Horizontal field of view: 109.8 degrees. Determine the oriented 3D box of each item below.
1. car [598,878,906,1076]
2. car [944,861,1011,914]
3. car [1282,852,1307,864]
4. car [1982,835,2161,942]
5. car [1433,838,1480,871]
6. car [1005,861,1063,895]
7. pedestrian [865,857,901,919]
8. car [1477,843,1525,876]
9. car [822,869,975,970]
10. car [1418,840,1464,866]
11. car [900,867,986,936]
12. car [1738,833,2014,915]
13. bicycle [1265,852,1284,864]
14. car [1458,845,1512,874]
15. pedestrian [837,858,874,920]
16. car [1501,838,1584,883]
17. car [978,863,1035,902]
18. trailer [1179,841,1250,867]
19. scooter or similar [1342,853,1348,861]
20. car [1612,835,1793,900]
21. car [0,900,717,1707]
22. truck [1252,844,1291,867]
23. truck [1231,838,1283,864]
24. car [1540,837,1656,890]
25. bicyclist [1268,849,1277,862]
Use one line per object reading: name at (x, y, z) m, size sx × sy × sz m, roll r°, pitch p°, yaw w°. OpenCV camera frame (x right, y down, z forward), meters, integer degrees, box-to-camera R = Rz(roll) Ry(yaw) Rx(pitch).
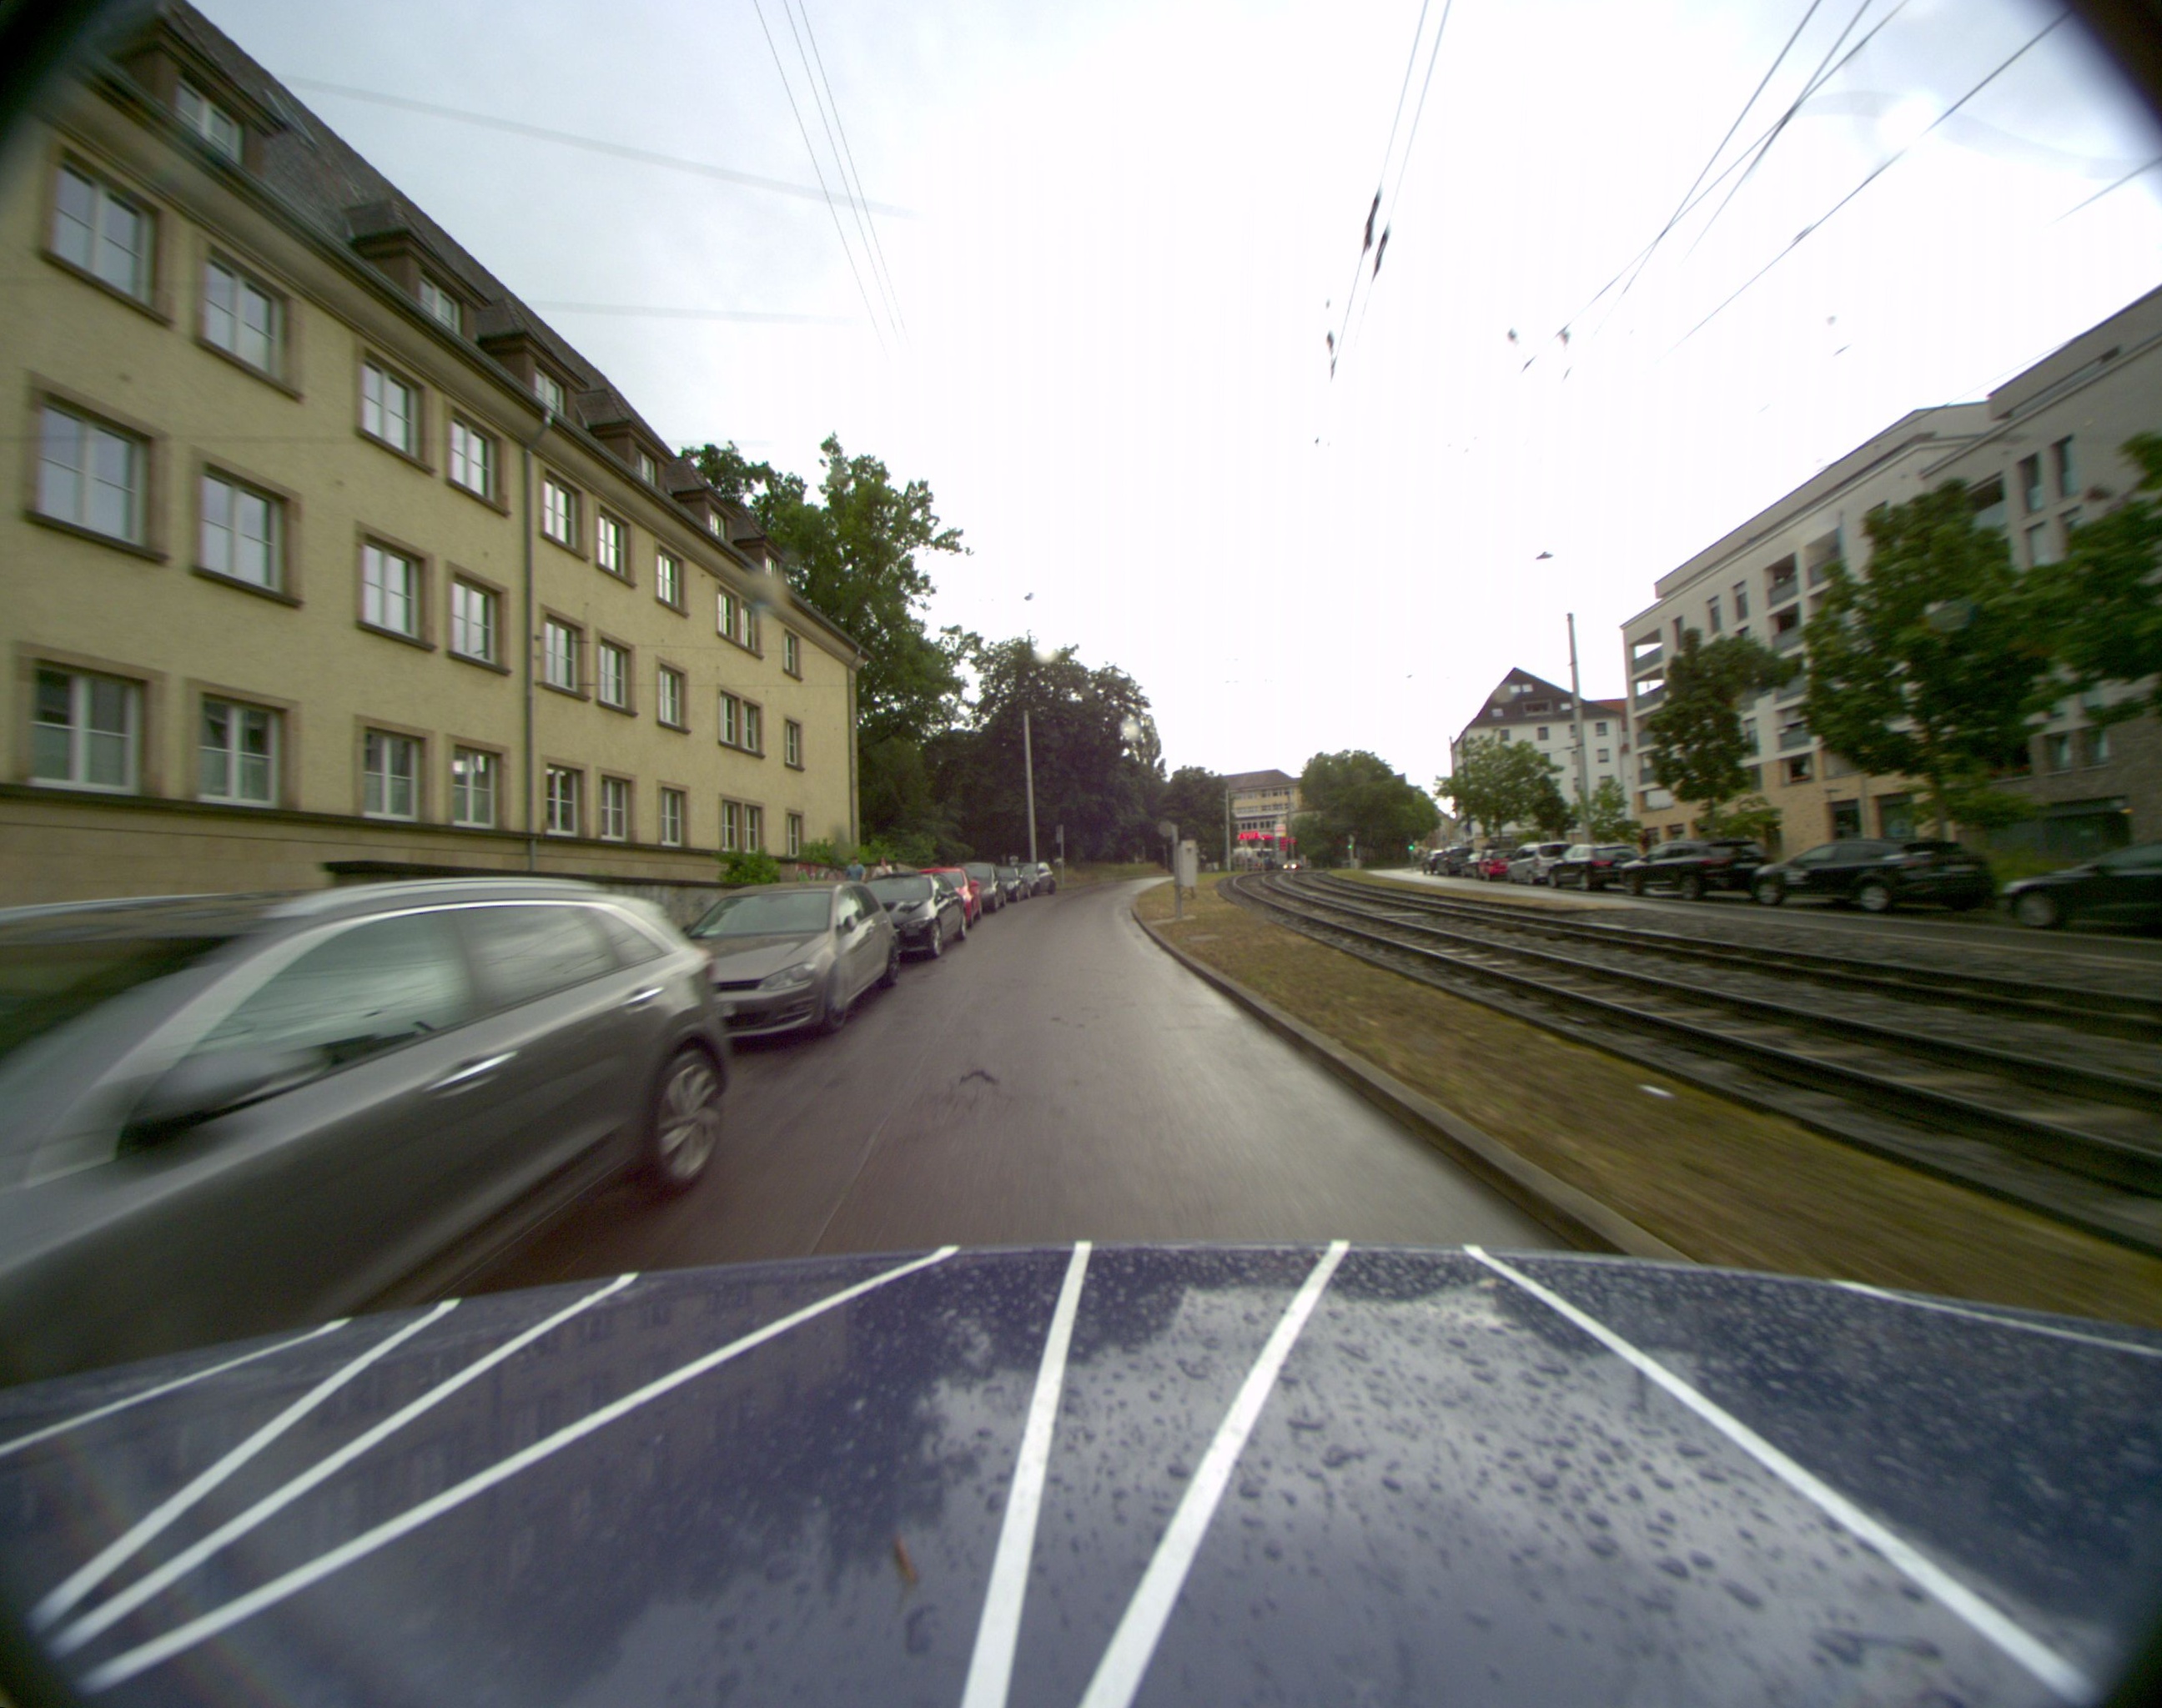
car at (-3.162, 1.067, 8.278) m, size 1.670 × 1.468 × 4.108 m, roll -1°, pitch 0°, yaw -2°
car at (-3.328, 1.026, 25.066) m, size 1.670 × 1.564 × 3.855 m, roll -1°, pitch 0°, yaw 0°
car at (27.502, 0.525, 97.835) m, size 1.886 × 1.482 × 3.857 m, roll -2°, pitch 0°, yaw 35°
car at (16.060, 0.470, 10.703) m, size 1.970 × 1.422 × 4.201 m, roll -3°, pitch 0°, yaw 6°
car at (23.086, 0.018, 46.849) m, size 1.584 × 1.848 × 4.337 m, roll -4°, pitch -1°, yaw 14°
car at (-2.117, 1.070, 34.829) m, size 1.599 × 1.457 × 2.725 m, roll -1°, pitch 0°, yaw 21°
pedestrian at (-5.623, 0.955, 21.644) m, size 0.719 × 1.744 × 0.739 m, roll -1°, pitch 0°, yaw 9°
car at (20.629, 0.266, 37.404) m, size 1.471 × 1.522 × 2.935 m, roll -2°, pitch 0°, yaw 18°
car at (-3.133, 1.057, 13.978) m, size 1.669 × 1.468 × 4.457 m, roll -1°, pitch 0°, yaw 1°
car at (24.376, -0.081, 51.611) m, size 1.996 × 1.595 × 4.219 m, roll -2°, pitch 0°, yaw 15°
car at (-3.485, 1.150, 19.848) m, size 1.670 × 1.468 × 4.065 m, roll -3°, pitch 0°, yaw -3°
car at (16.986, 0.385, 16.617) m, size 1.741 × 1.480 × 4.258 m, roll -3°, pitch 0°, yaw 4°
bicycle at (19.054, 0.414, 74.918) m, size 1.709 × 1.133 × 0.626 m, roll -2°, pitch 0°, yaw 10°
car at (22.102, 0.281, 41.686) m, size 1.553 × 1.439 × 4.404 m, roll -3°, pitch 0°, yaw 14°
pedestrian at (-6.452, 0.990, 21.732) m, size 0.719 × 1.744 × 0.739 m, roll -1°, pitch 0°, yaw 9°
car at (19.705, 0.248, 32.652) m, size 1.666 × 1.737 × 4.261 m, roll -2°, pitch 0°, yaw 12°
car at (-2.946, 1.093, 30.645) m, size 1.539 × 1.408 × 3.645 m, roll -1°, pitch 0°, yaw 6°
trailer at (18.858, 0.061, 107.736) m, size 9.809 × 3.375 × 2.819 m, roll -3°, pitch 0°, yaw 41°
scooter or similar at (46.197, 0.512, 132.896) m, size 0.399 × 1.186 × 1.365 m, roll -2°, pitch 3°, yaw 45°
car at (17.356, 0.345, 21.580) m, size 1.806 × 1.574 × 4.701 m, roll -3°, pitch 0°, yaw 9°
car at (-2.725, 1.011, 1.963) m, size 1.670 × 1.515 × 4.108 m, roll -1°, pitch 0°, yaw -2°
truck at (32.397, 0.185, 128.991) m, size 2.655 × 3.548 × 10.275 m, roll -2°, pitch 0°, yaw 36°
truck at (23.861, -0.410, 103.220) m, size 6.108 × 3.379 × 2.843 m, roll -2°, pitch -1°, yaw 44°
car at (18.299, 0.301, 27.136) m, size 1.734 × 1.634 × 4.535 m, roll -3°, pitch 0°, yaw 11°
bicyclist at (18.896, 0.142, 75.122) m, size 0.799 × 1.287 × 0.595 m, roll -2°, pitch 2°, yaw 9°
